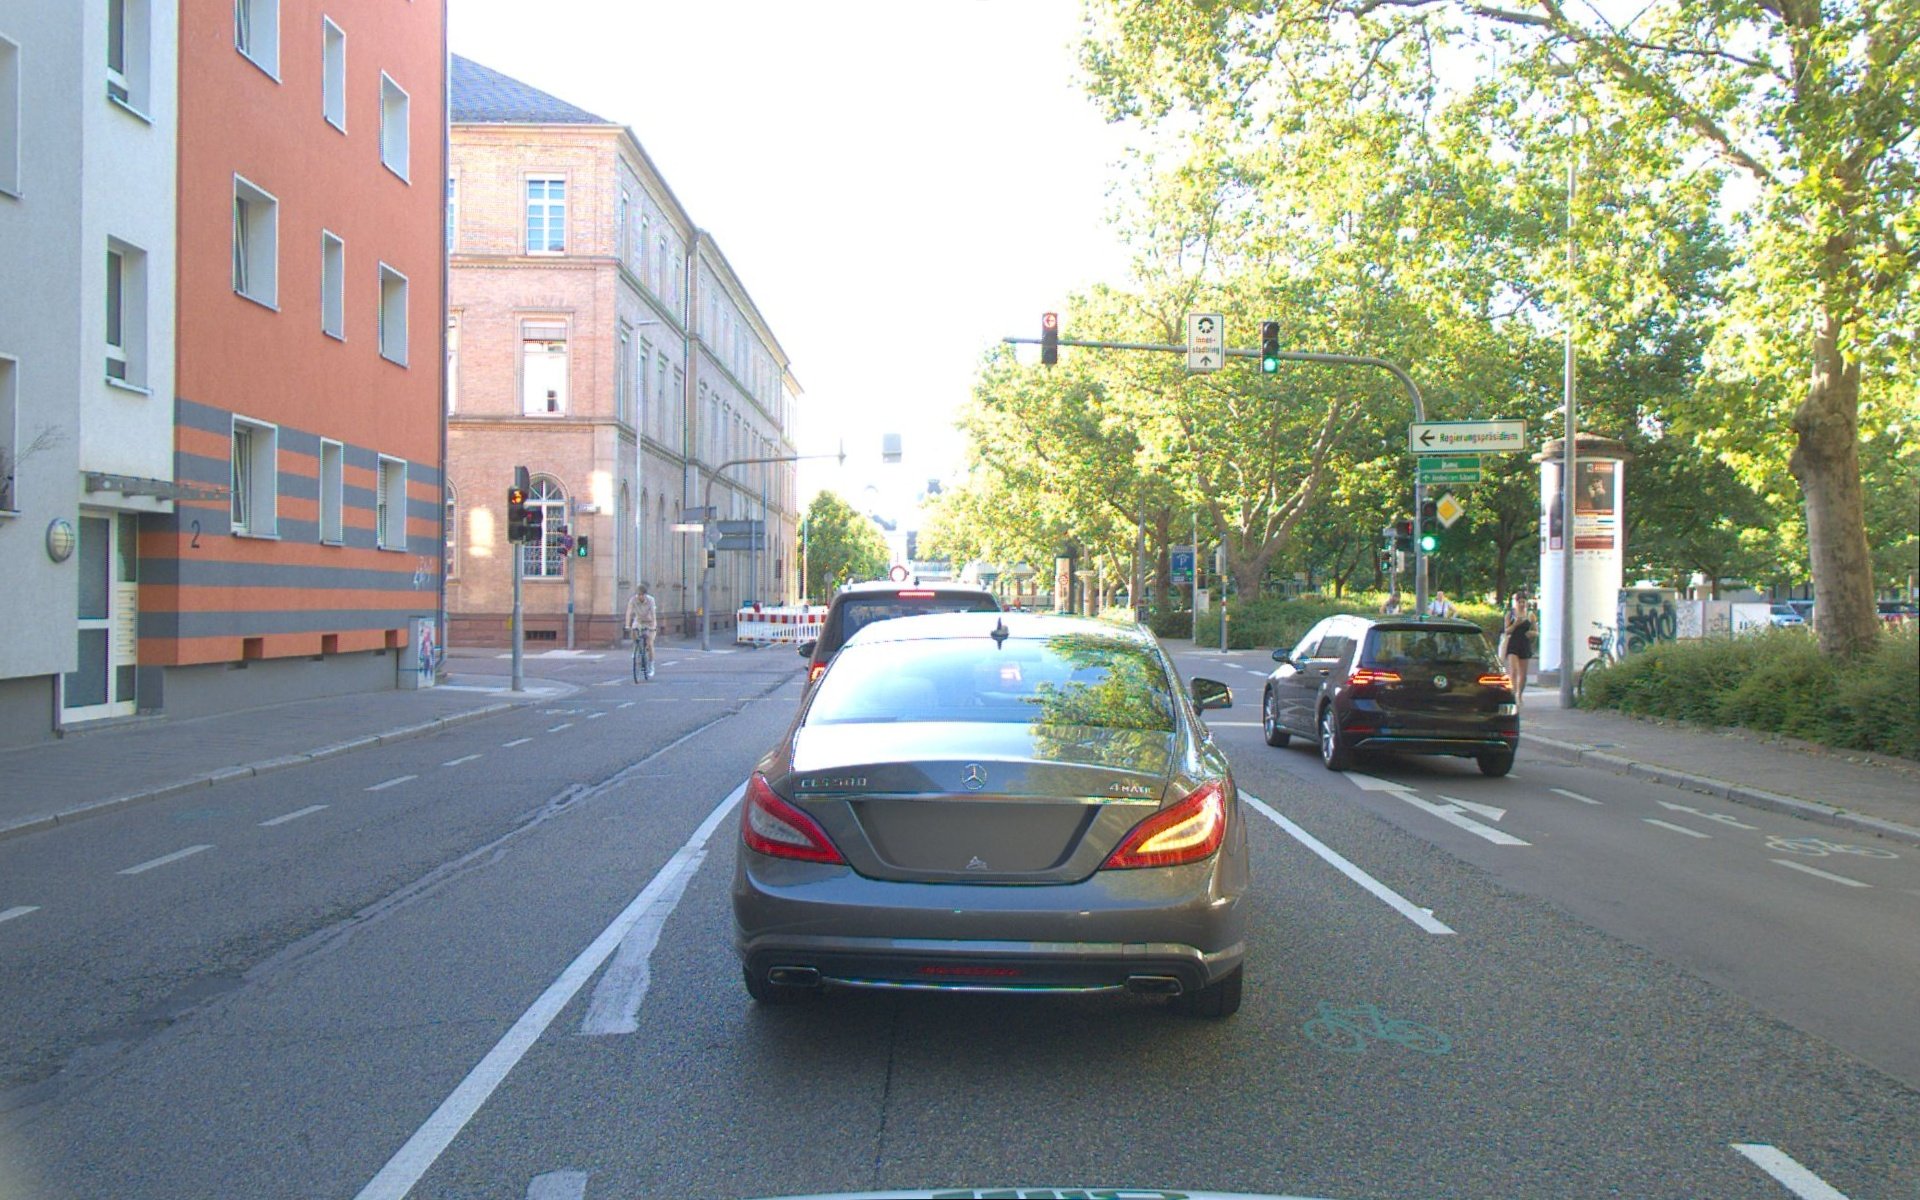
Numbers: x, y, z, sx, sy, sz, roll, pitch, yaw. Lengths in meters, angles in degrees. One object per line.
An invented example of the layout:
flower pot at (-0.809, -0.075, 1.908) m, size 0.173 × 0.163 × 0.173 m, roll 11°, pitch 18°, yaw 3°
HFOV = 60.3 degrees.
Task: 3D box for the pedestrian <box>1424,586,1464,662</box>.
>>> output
pedestrian at (11.198, 0.561, 38.316) m, size 0.669 × 1.727 × 0.971 m, roll 1°, pitch 0°, yaw 3°

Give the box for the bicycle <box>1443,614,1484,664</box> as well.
bicycle at (11.629, 0.892, 38.220) m, size 0.513 × 1.119 × 1.742 m, roll 1°, pitch 0°, yaw 4°

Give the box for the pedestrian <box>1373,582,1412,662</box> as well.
pedestrian at (10.007, 0.512, 38.287) m, size 0.716 × 1.840 × 0.909 m, roll -1°, pitch -1°, yaw 6°

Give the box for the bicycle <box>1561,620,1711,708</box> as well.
bicycle at (9.696, 0.911, 23.740) m, size 1.936 × 1.210 × 0.528 m, roll 1°, pitch -1°, yaw -2°

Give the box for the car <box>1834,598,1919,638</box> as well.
car at (36.266, 0.698, 65.128) m, size 1.596 × 1.508 × 3.794 m, roll 1°, pitch 0°, yaw -2°

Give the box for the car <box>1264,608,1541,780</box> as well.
car at (4.258, 0.843, 16.522) m, size 1.655 × 1.465 × 3.901 m, roll 2°, pitch 0°, yaw -1°

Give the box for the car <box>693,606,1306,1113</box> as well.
car at (0.298, 0.773, 7.170) m, size 1.804 × 1.454 × 4.520 m, roll 1°, pitch 0°, yaw 5°

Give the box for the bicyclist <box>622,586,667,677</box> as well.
bicyclist at (-5.620, 0.552, 29.516) m, size 0.635 × 1.586 × 0.806 m, roll 1°, pitch -1°, yaw -2°

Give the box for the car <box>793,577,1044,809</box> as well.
car at (-0.266, 0.667, 13.700) m, size 1.772 × 1.641 × 4.000 m, roll 0°, pitch 0°, yaw 1°

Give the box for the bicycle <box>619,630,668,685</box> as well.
bicycle at (-5.617, 1.013, 29.428) m, size 0.537 × 0.906 × 1.867 m, roll 1°, pitch 0°, yaw -1°

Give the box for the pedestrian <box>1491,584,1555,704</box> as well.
pedestrian at (7.978, 0.621, 23.478) m, size 0.781 × 1.659 × 0.908 m, roll -1°, pitch -1°, yaw 16°
